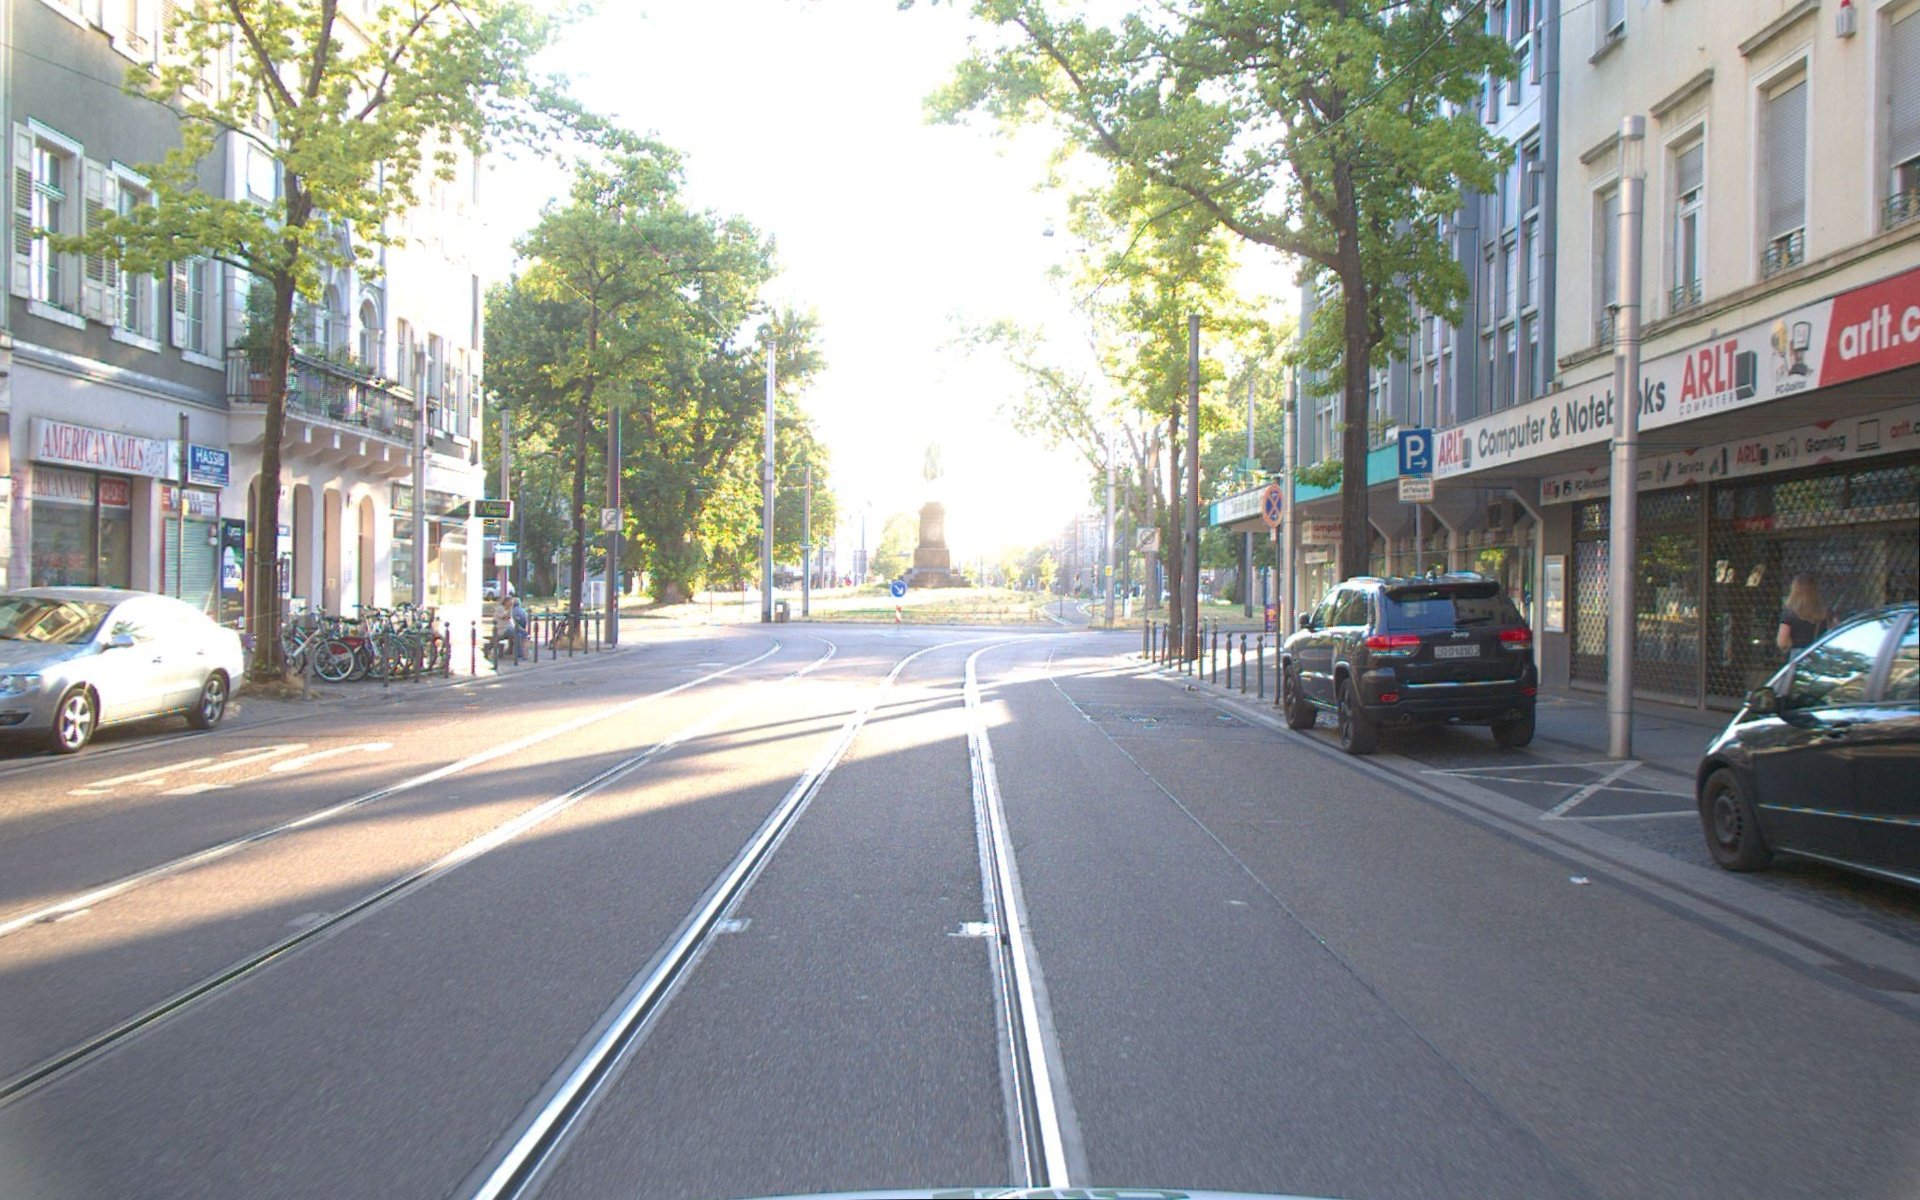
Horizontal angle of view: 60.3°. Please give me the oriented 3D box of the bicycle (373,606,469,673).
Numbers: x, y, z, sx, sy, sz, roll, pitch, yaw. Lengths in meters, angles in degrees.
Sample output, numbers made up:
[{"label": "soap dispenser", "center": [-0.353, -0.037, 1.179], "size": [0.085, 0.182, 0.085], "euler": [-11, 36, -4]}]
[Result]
[{"label": "bicycle", "center": [-9.641, 0.697, 29.576], "size": [1.989, 1.124, 0.499], "euler": [2, -1, 35]}]

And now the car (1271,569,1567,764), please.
[{"label": "car", "center": [4.892, 0.626, 18.381], "size": [1.899, 1.790, 4.679], "euler": [-3, 0, 0]}]

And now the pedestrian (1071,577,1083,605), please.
[{"label": "pedestrian", "center": [6.766, -0.531, 95.577], "size": [0.622, 1.634, 0.772], "euler": [0, 0, 13]}]

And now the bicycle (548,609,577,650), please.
[{"label": "bicycle", "center": [-9.675, 0.708, 40.305], "size": [0.329, 0.962, 1.510], "euler": [0, 0, 1]}]

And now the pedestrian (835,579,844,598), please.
[{"label": "pedestrian", "center": [-10.449, -1.016, 142.977], "size": [0.754, 1.634, 0.637], "euler": [0, 0, -7]}]

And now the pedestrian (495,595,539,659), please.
[{"label": "pedestrian", "center": [-9.370, 0.562, 35.003], "size": [0.713, 1.313, 0.856], "euler": [1, 0, -3]}]

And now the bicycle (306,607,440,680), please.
[{"label": "bicycle", "center": [-9.660, 0.722, 27.239], "size": [1.998, 1.124, 0.497], "euler": [3, -1, -26]}]

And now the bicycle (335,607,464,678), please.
[{"label": "bicycle", "center": [-9.526, 0.716, 28.119], "size": [1.981, 1.124, 0.501], "euler": [2, -1, 2]}]

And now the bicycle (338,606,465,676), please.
[{"label": "bicycle", "center": [-9.686, 0.708, 28.704], "size": [1.981, 1.124, 0.501], "euler": [2, -1, 2]}]

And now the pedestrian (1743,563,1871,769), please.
[{"label": "pedestrian", "center": [7.313, 0.552, 14.306], "size": [0.630, 1.699, 0.786], "euler": [-3, 0, 0]}]

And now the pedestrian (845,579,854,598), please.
[{"label": "pedestrian", "center": [-9.512, -1.007, 142.590], "size": [0.754, 1.634, 0.637], "euler": [0, 0, -7]}]

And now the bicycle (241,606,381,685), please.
[{"label": "bicycle", "center": [-9.855, 0.699, 25.127], "size": [1.921, 1.124, 0.563], "euler": [3, -1, -26]}]

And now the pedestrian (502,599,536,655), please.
[{"label": "pedestrian", "center": [-9.773, 0.593, 36.640], "size": [0.579, 1.214, 0.641], "euler": [1, 0, -3]}]

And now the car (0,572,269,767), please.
[{"label": "car", "center": [-8.988, 0.583, 16.856], "size": [1.799, 1.607, 4.702], "euler": [4, 0, 0]}]

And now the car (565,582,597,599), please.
[{"label": "car", "center": [-33.989, -0.847, 148.495], "size": [1.838, 1.445, 3.926], "euler": [1, 1, 2]}]

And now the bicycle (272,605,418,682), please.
[{"label": "bicycle", "center": [-9.666, 0.692, 26.013], "size": [2.082, 1.124, 0.497], "euler": [3, -1, -26]}]

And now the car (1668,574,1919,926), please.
[{"label": "car", "center": [5.409, 0.696, 8.536], "size": [1.740, 1.618, 3.891], "euler": [-3, 0, -1]}]

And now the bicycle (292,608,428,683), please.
[{"label": "bicycle", "center": [-9.658, 0.738, 26.646], "size": [1.998, 1.124, 0.497], "euler": [3, -1, -26]}]
